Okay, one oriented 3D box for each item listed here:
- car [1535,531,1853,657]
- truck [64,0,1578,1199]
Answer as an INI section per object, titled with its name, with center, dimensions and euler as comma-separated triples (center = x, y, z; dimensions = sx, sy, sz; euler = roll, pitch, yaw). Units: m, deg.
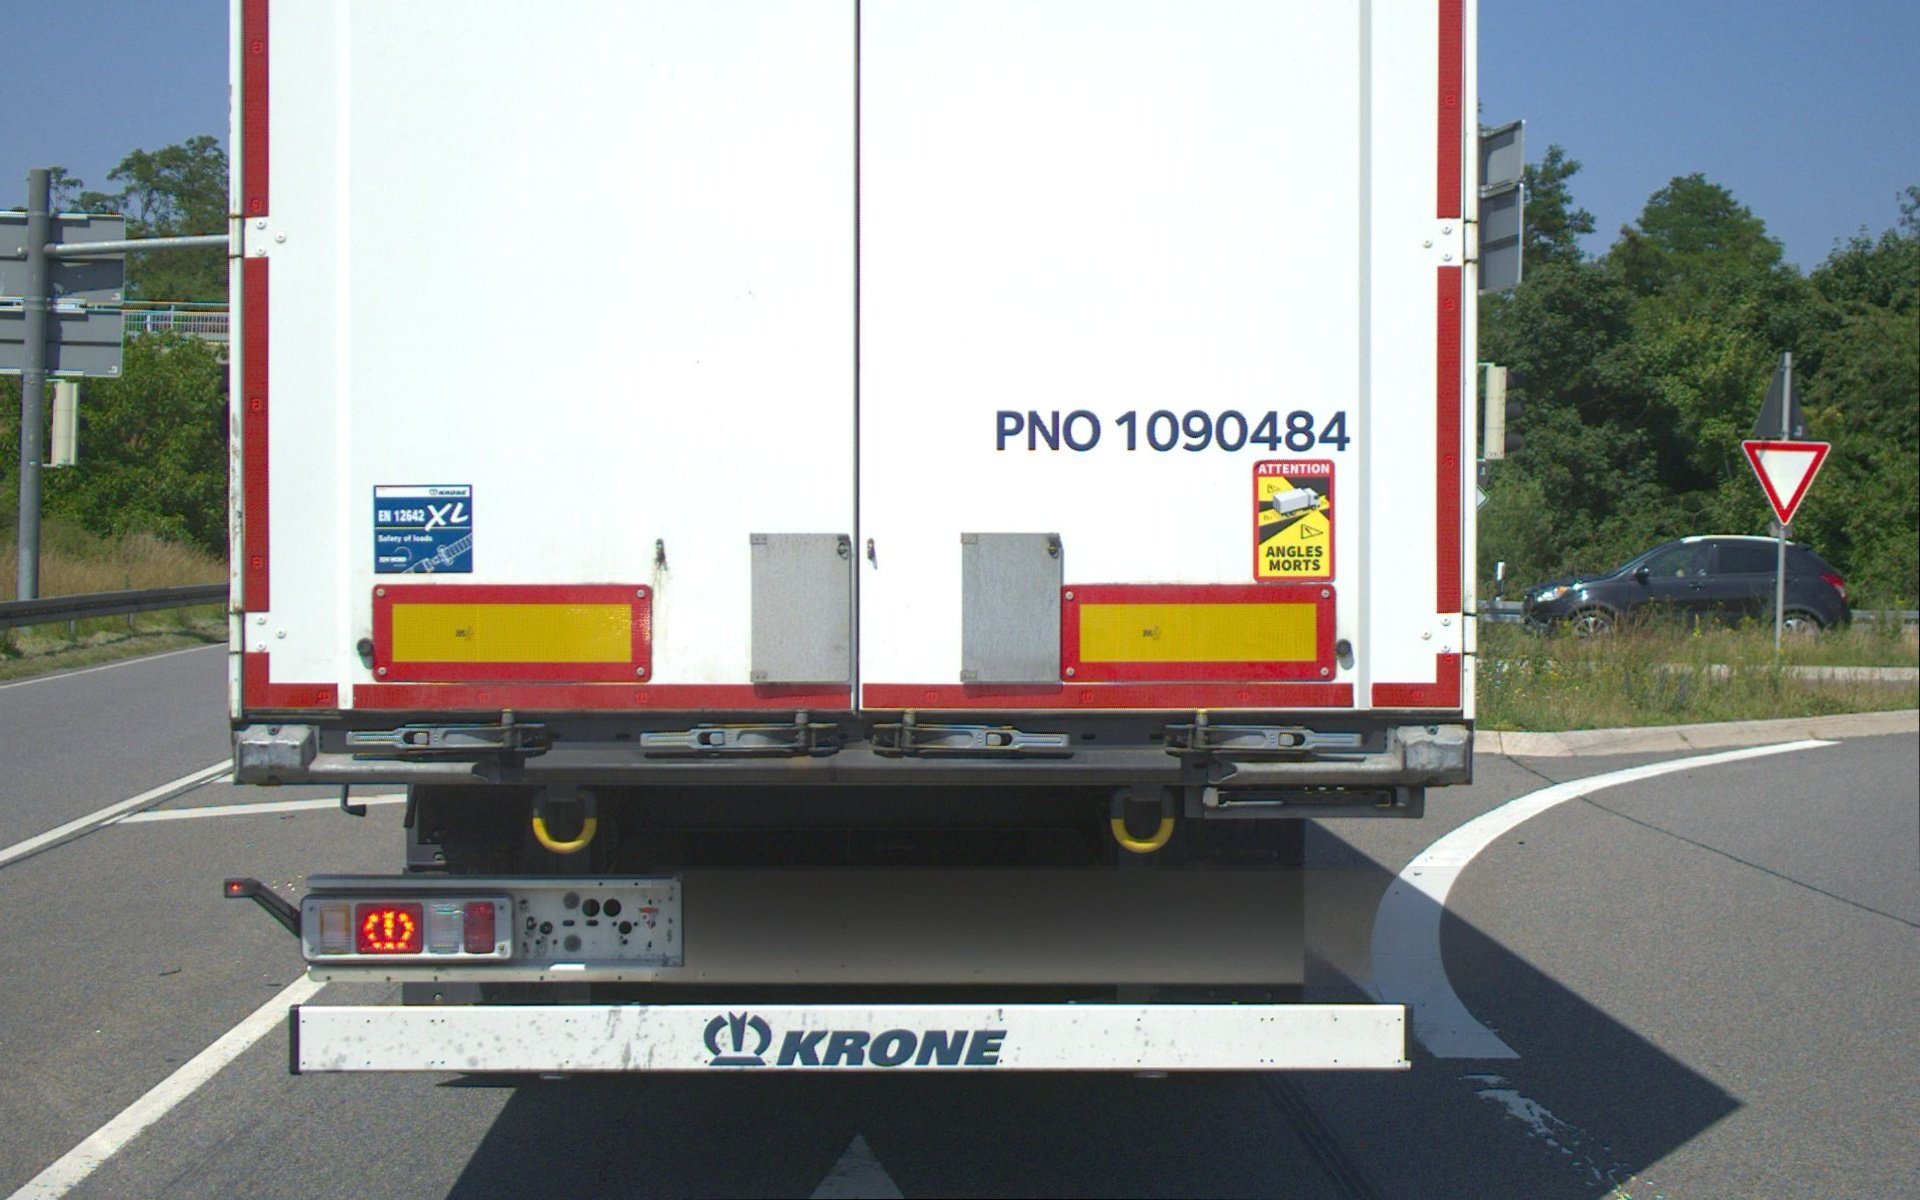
[car]
center = 9.848, -0.091, 46.388
dimensions = 3.986, 1.634, 1.841
euler = 1, 0, 5
[truck]
center = -0.372, -0.659, 11.765
dimensions = 2.987, 3.928, 9.876
euler = 1, 1, -1
